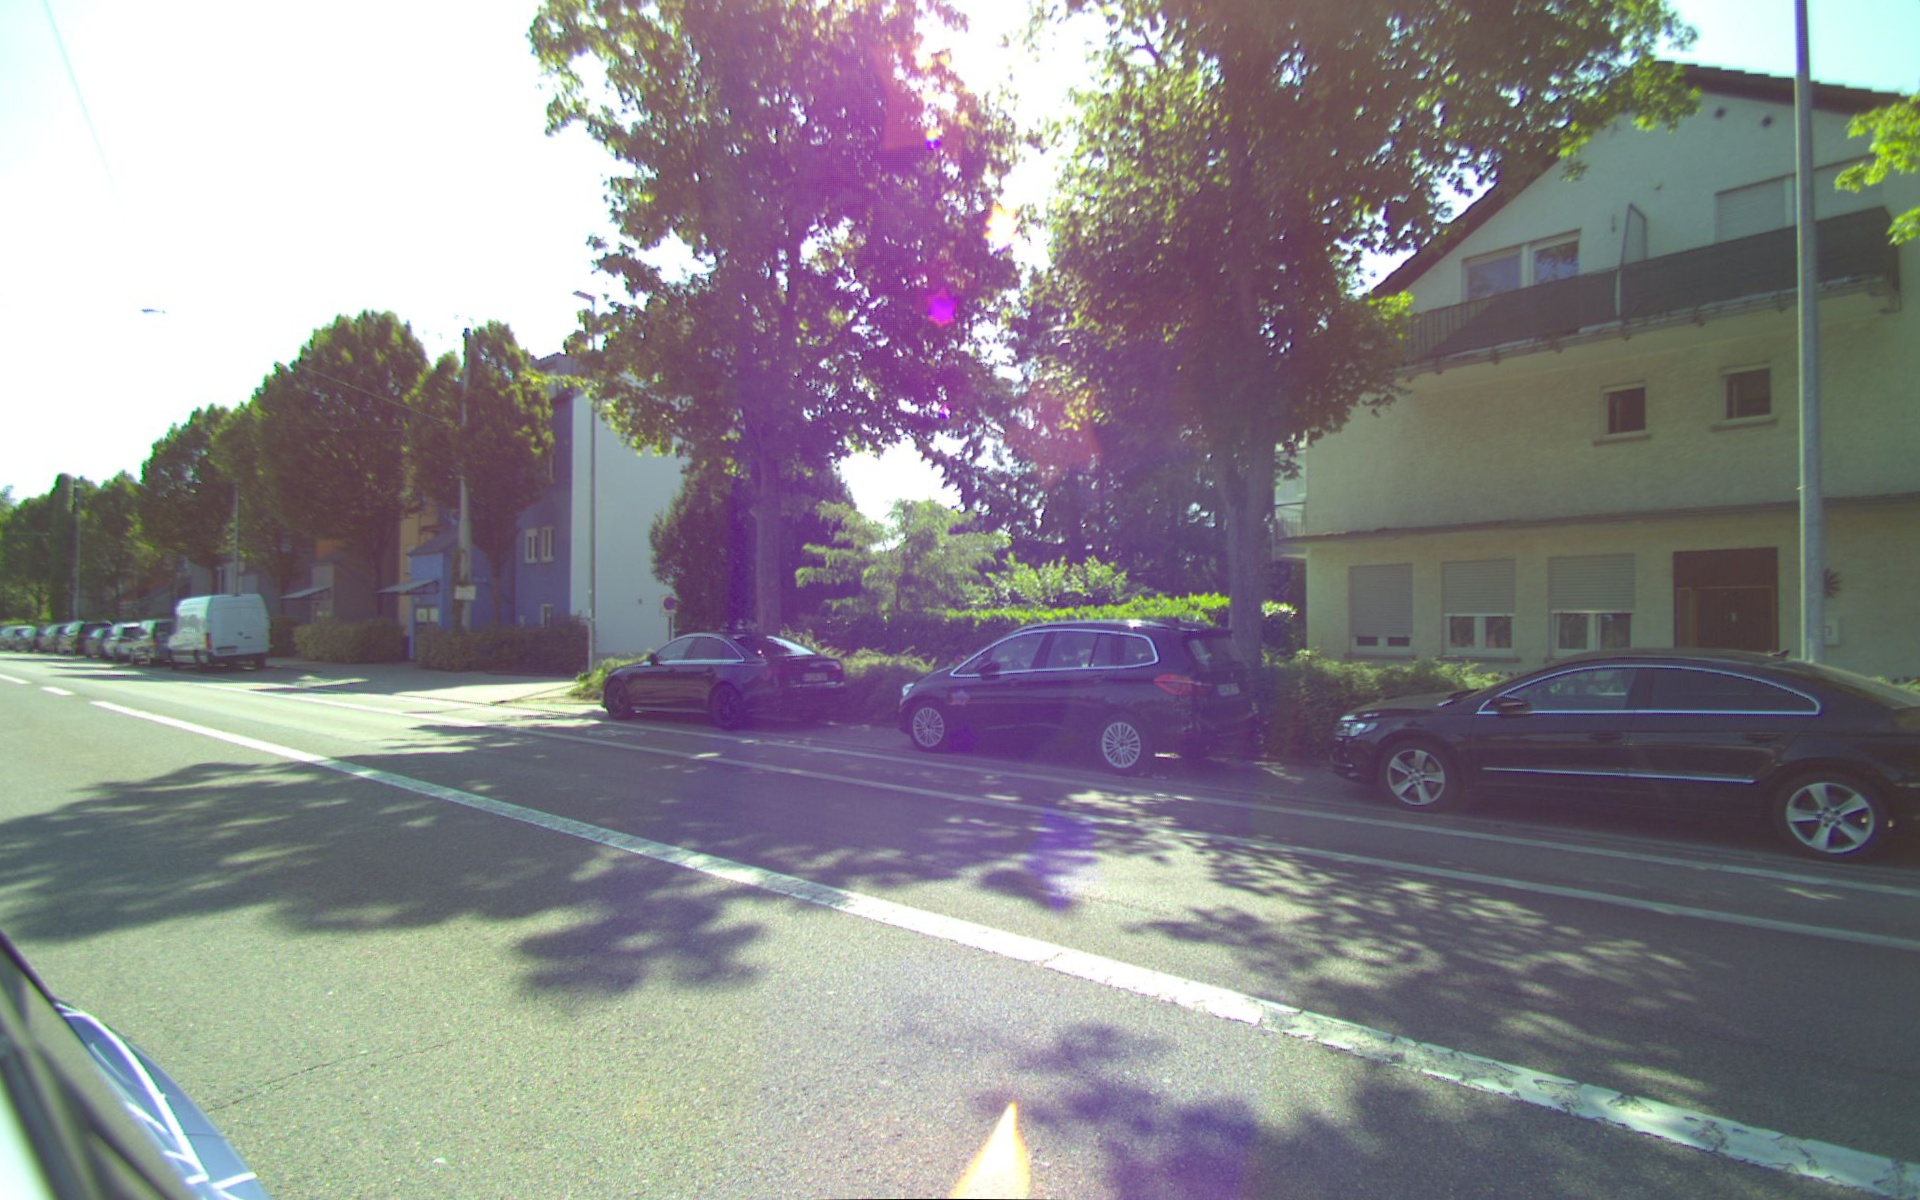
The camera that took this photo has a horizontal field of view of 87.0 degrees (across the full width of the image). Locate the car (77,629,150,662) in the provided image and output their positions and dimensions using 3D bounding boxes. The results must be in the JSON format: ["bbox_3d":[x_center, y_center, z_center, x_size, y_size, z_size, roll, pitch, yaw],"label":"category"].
[{"bbox_3d":[-41.380,2.186,49.433,4.069,1.466,1.849,-1,1,38],"label":"car"}]

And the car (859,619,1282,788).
[{"bbox_3d":[1.113,1.061,12.042,4.891,1.618,1.743,-2,-2,41],"label":"car"}]

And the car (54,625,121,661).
[{"bbox_3d":[-45.500,2.200,52.763,4.343,1.741,1.812,-1,0,38],"label":"car"}]

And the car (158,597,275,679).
[{"bbox_3d":[-27.308,1.344,37.047,7.084,2.697,1.972,-2,1,42],"label":"car"}]

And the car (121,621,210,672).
[{"bbox_3d":[-33.276,1.895,42.329,4.964,1.879,1.973,-2,2,41],"label":"car"}]

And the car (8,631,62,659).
[{"bbox_3d":[-54.492,2.627,59.583,4.207,1.481,1.661,-1,-1,38],"label":"car"}]

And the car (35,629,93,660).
[{"bbox_3d":[-49.506,2.426,55.885,4.159,1.619,1.661,-1,-1,38],"label":"car"}]

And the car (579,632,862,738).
[{"bbox_3d":[-3.991,1.259,16.447,4.903,1.477,1.822,-1,-2,38],"label":"car"}]

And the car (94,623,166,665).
[{"bbox_3d":[-37.784,1.945,46.046,4.539,1.715,1.829,-1,1,42],"label":"car"}]

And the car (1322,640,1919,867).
[{"bbox_3d":[5.580,1.050,8.083,4.779,1.390,1.673,-2,-1,41],"label":"car"}]

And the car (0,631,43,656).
[{"bbox_3d":[-59.752,2.700,63.930,4.826,1.457,1.662,-1,-1,35],"label":"car"}]
